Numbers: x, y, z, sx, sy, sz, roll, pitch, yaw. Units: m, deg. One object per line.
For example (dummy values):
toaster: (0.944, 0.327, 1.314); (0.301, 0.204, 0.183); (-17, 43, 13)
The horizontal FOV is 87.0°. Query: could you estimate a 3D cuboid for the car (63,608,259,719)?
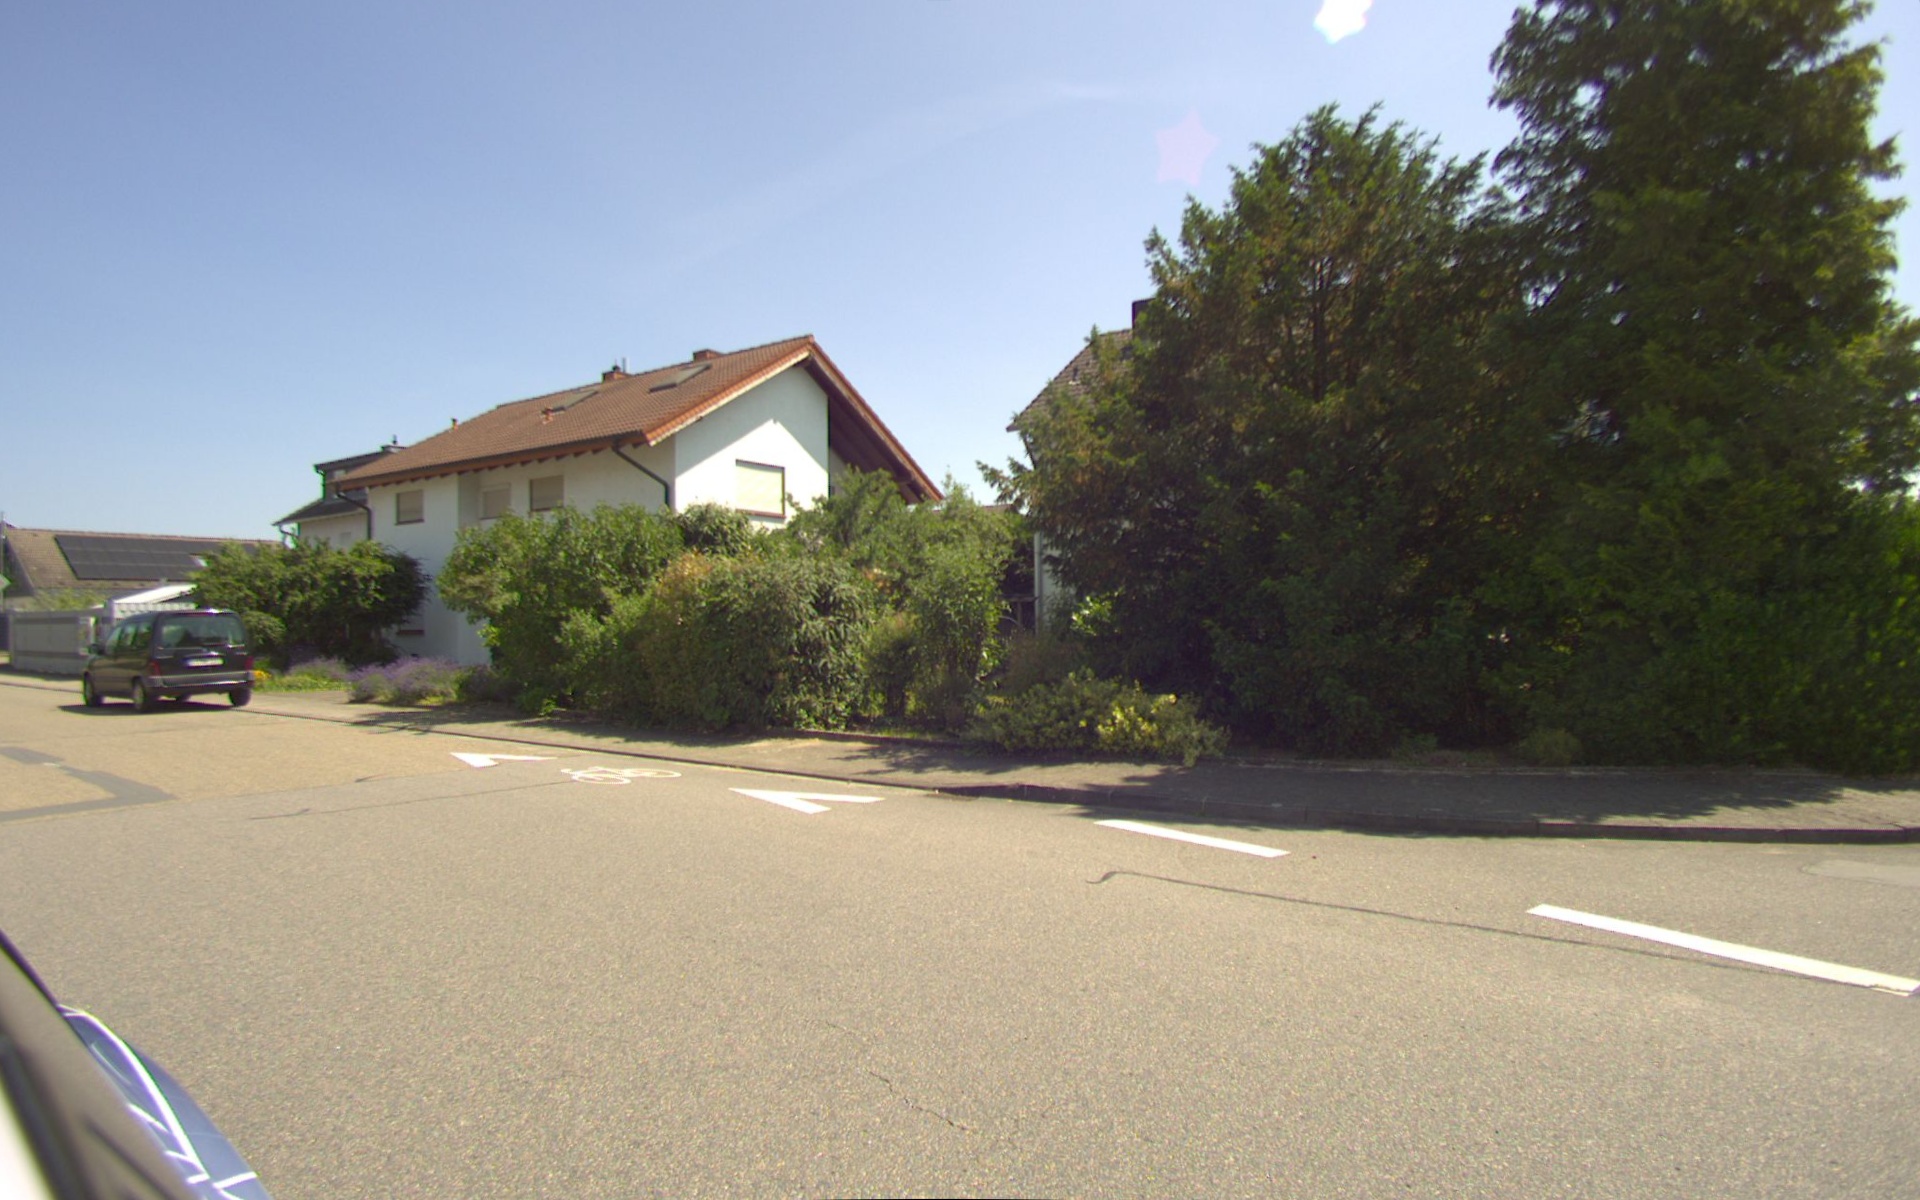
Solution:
car: (-14.851, 1.098, 18.761); (4.043, 1.860, 1.704); (-1, -1, 34)
